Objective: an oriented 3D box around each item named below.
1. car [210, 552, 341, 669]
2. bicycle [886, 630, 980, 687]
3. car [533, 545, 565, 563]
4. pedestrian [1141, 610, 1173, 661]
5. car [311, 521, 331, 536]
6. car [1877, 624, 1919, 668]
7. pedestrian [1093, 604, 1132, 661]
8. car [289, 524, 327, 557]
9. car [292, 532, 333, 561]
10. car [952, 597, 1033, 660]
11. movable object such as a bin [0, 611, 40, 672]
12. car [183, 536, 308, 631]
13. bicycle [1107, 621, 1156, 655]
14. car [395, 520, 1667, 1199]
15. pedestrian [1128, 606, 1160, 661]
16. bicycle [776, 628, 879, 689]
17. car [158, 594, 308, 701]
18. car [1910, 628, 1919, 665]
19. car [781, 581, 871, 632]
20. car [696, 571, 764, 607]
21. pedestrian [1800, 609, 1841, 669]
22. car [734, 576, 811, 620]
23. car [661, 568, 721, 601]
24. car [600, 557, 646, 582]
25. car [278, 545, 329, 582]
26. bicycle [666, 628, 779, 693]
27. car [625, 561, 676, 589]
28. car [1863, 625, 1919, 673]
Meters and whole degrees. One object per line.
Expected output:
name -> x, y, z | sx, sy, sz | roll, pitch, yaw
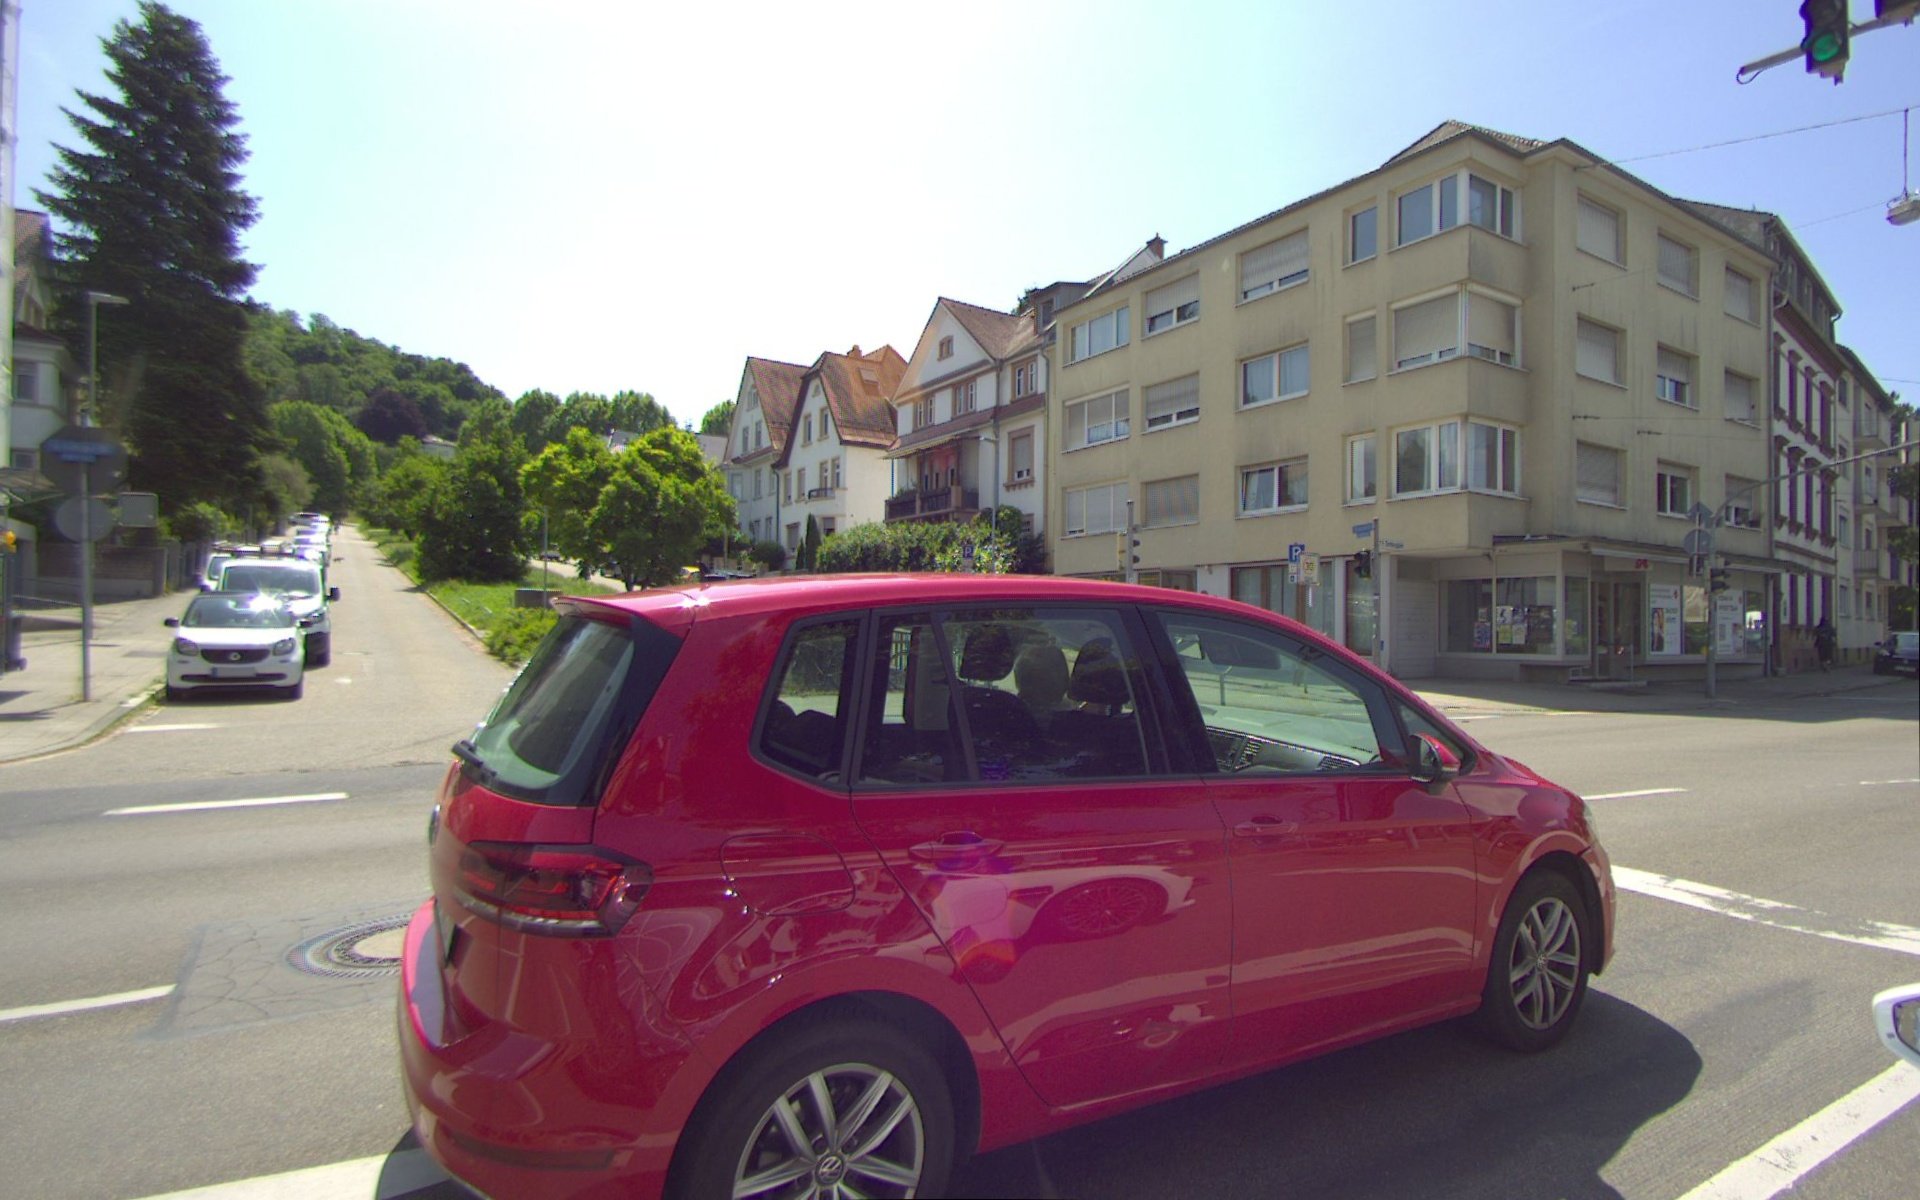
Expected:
car -> -14.061, 0.106, 20.666 | 1.980, 2.041, 4.962 | 1, 2, -35
bicycle -> -0.477, 1.043, 18.109 | 1.765, 0.980, 0.394 | 1, -1, -35
car -> -35.437, -3.975, 86.477 | 1.839, 1.440, 3.963 | 1, 3, -33
pedestrian -> 5.756, 1.032, 29.374 | 0.641, 1.495, 0.683 | 1, -1, -29
car -> -66.059, -7.386, 103.871 | 1.739, 1.467, 3.706 | 1, 3, -32
car -> 35.888, 1.735, 37.624 | 3.972, 1.539, 1.975 | 3, -1, -43
pedestrian -> 4.534, 0.963, 29.911 | 0.813, 1.654, 0.798 | 1, -1, -29
car -> -38.904, -3.579, 59.914 | 1.741, 1.839, 3.701 | 1, 3, -36
car -> -36.314, -3.012, 56.281 | 1.741, 1.467, 3.701 | 1, 3, -36
car -> 1.053, 0.827, 29.912 | 1.959, 1.686, 4.332 | 1, -1, 8
movable object such as a bin -> -15.183, 0.645, 15.931 | 0.695, 0.939, 0.735 | 1, 0, -29
car -> -18.483, -0.492, 26.210 | 2.050, 2.207, 4.973 | 1, 2, -29
bicycle -> 5.397, 1.186, 31.721 | 0.493, 1.040, 1.728 | 1, 0, -31
car -> 0.385, 0.702, 3.414 | 3.989, 1.578, 1.790 | 2, 0, -30
pedestrian -> 5.533, 1.000, 30.242 | 0.641, 1.654, 0.683 | 1, -1, -29
bicycle -> -2.227, 0.970, 16.958 | 1.728, 0.980, 0.394 | 1, -1, -35
car -> -11.429, 0.664, 16.001 | 1.739, 1.466, 3.705 | 1, 0, -33
car -> 42.482, 2.020, 43.303 | 3.972, 1.530, 1.975 | 2, -2, -43
car -> -5.089, 0.211, 37.663 | 1.790, 1.638, 3.963 | 1, 3, -33
car -> -10.595, -0.536, 46.122 | 1.790, 1.406, 3.963 | 1, 3, -33
pedestrian -> 28.787, 1.293, 33.597 | 0.970, 1.957, 0.926 | 2, -1, -42
car -> -7.868, -0.113, 41.924 | 1.790, 1.571, 3.963 | 1, 3, -33
car -> -13.719, -0.812, 51.135 | 1.790, 1.440, 3.963 | 1, 3, -33
car -> -21.454, -1.957, 63.921 | 1.839, 1.440, 3.963 | 1, 3, -33
car -> -29.383, -1.637, 44.917 | 1.741, 1.467, 3.701 | 1, 3, -36
bicycle -> -3.734, 0.945, 15.870 | 1.701, 0.980, 0.394 | 1, -1, -35
car -> -18.215, -1.494, 59.035 | 1.839, 1.440, 3.963 | 1, 3, -33
car -> 32.444, 1.682, 34.380 | 3.973, 1.539, 1.974 | 3, -1, -44
